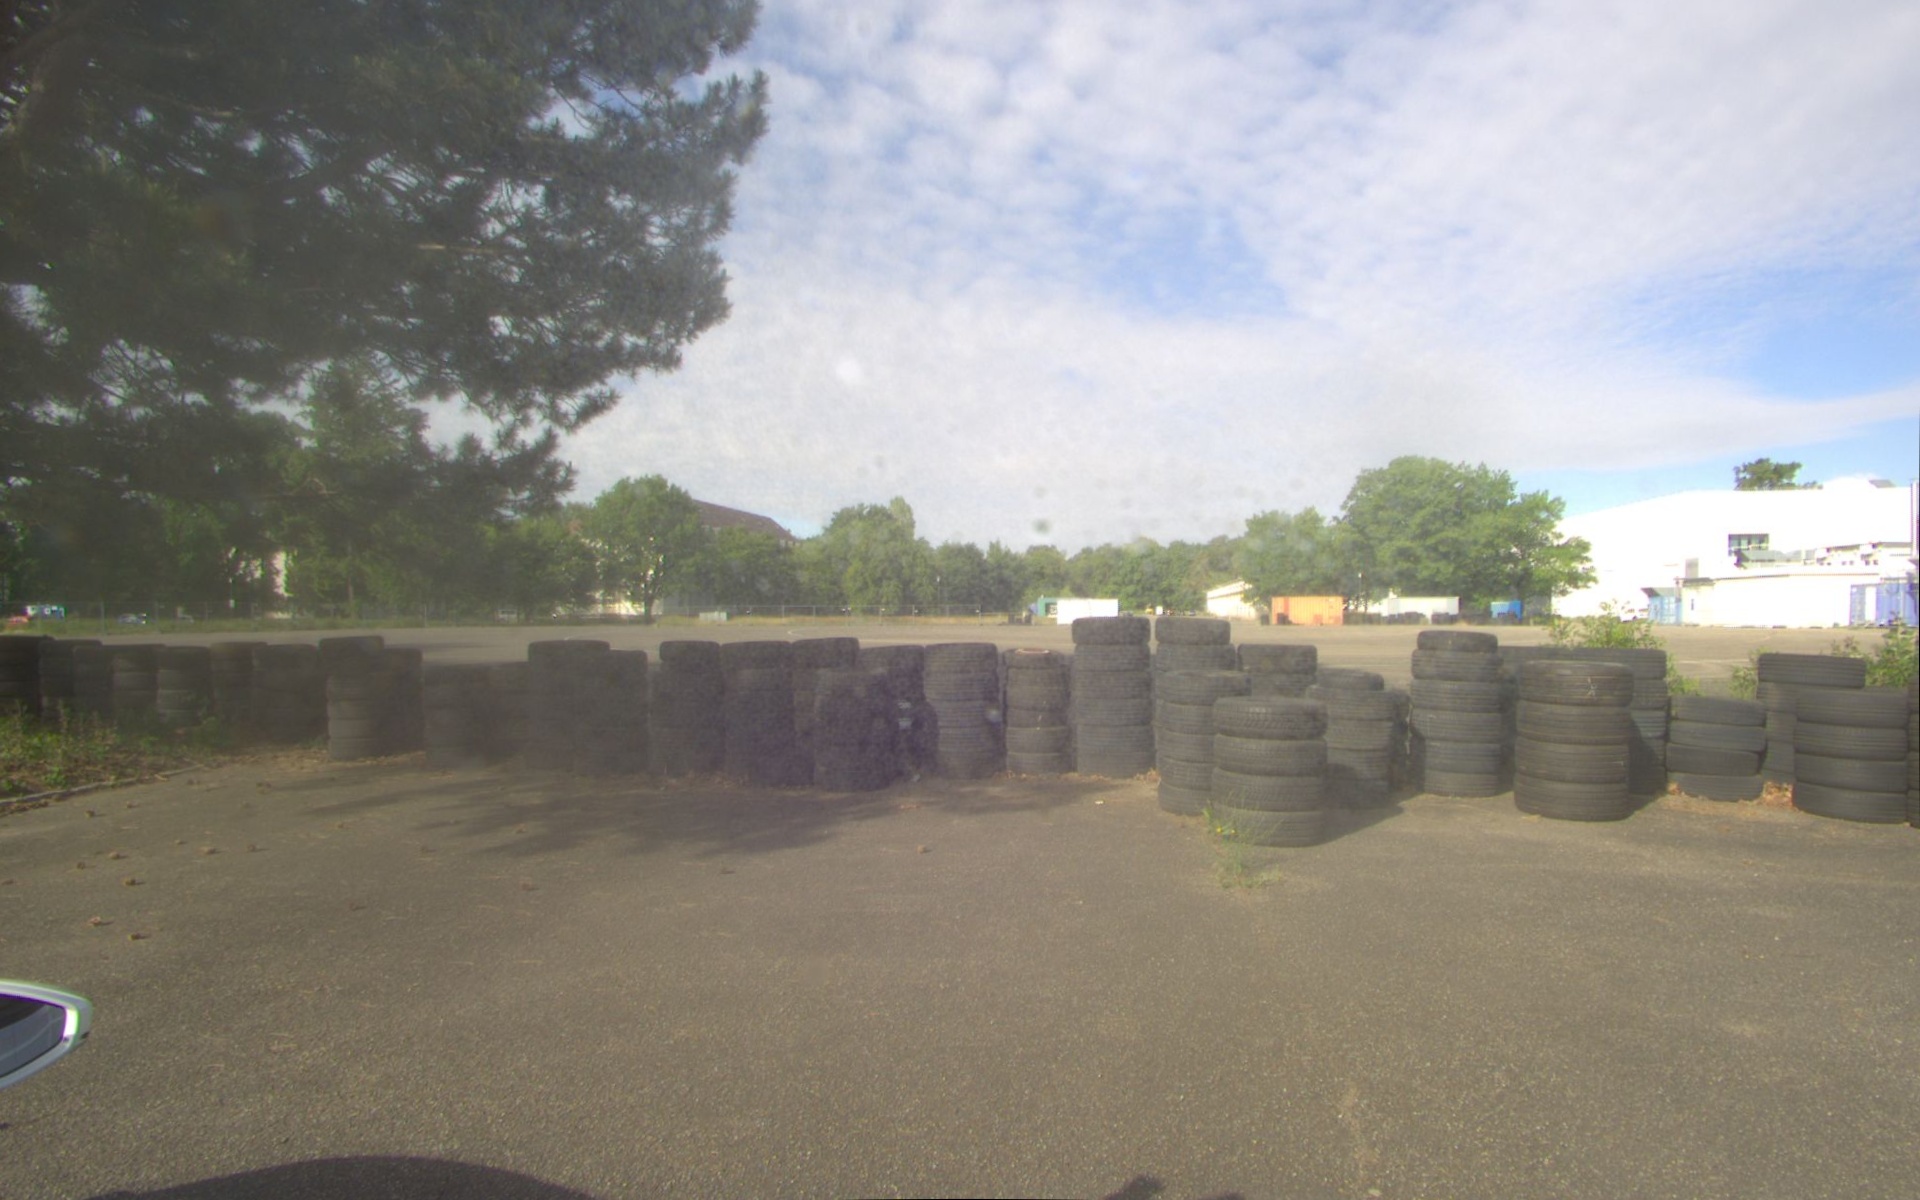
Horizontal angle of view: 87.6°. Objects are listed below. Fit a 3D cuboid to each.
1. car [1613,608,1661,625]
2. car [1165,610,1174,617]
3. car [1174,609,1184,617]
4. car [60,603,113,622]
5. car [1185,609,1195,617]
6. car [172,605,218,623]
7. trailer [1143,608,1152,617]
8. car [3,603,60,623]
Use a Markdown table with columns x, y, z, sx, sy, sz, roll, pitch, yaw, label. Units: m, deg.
| x | y | z | sx | sy | sz | roll | pitch | yaw | label |
| --- | --- | --- | --- | --- | --- | --- | --- | --- | --- |
| 61.958 | 1.483 | 91.724 | 1.839 | 1.585 | 4.546 | 0 | 0 | 8 | car |
| 50.636 | 3.246 | 241.924 | 1.961 | 1.773 | 3.999 | 0 | 0 | 8 | car |
| 52.865 | 3.212 | 241.699 | 1.999 | 1.832 | 3.999 | 0 | 0 | 8 | car |
| -80.881 | 1.166 | 92.693 | 3.929 | 1.773 | 1.996 | 0 | 0 | 19 | car |
| 55.323 | 3.110 | 241.243 | 1.961 | 1.773 | 3.999 | 0 | 0 | 8 | car |
| -78.681 | 1.422 | 102.969 | 3.931 | 1.773 | 1.995 | 0 | 0 | 21 | car |
| 45.996 | 3.103 | 245.817 | 1.962 | 2.040 | 3.999 | 0 | 0 | 9 | trailer |
| -81.648 | 1.118 | 88.029 | 3.928 | 1.773 | 1.997 | 0 | 0 | 17 | car |
